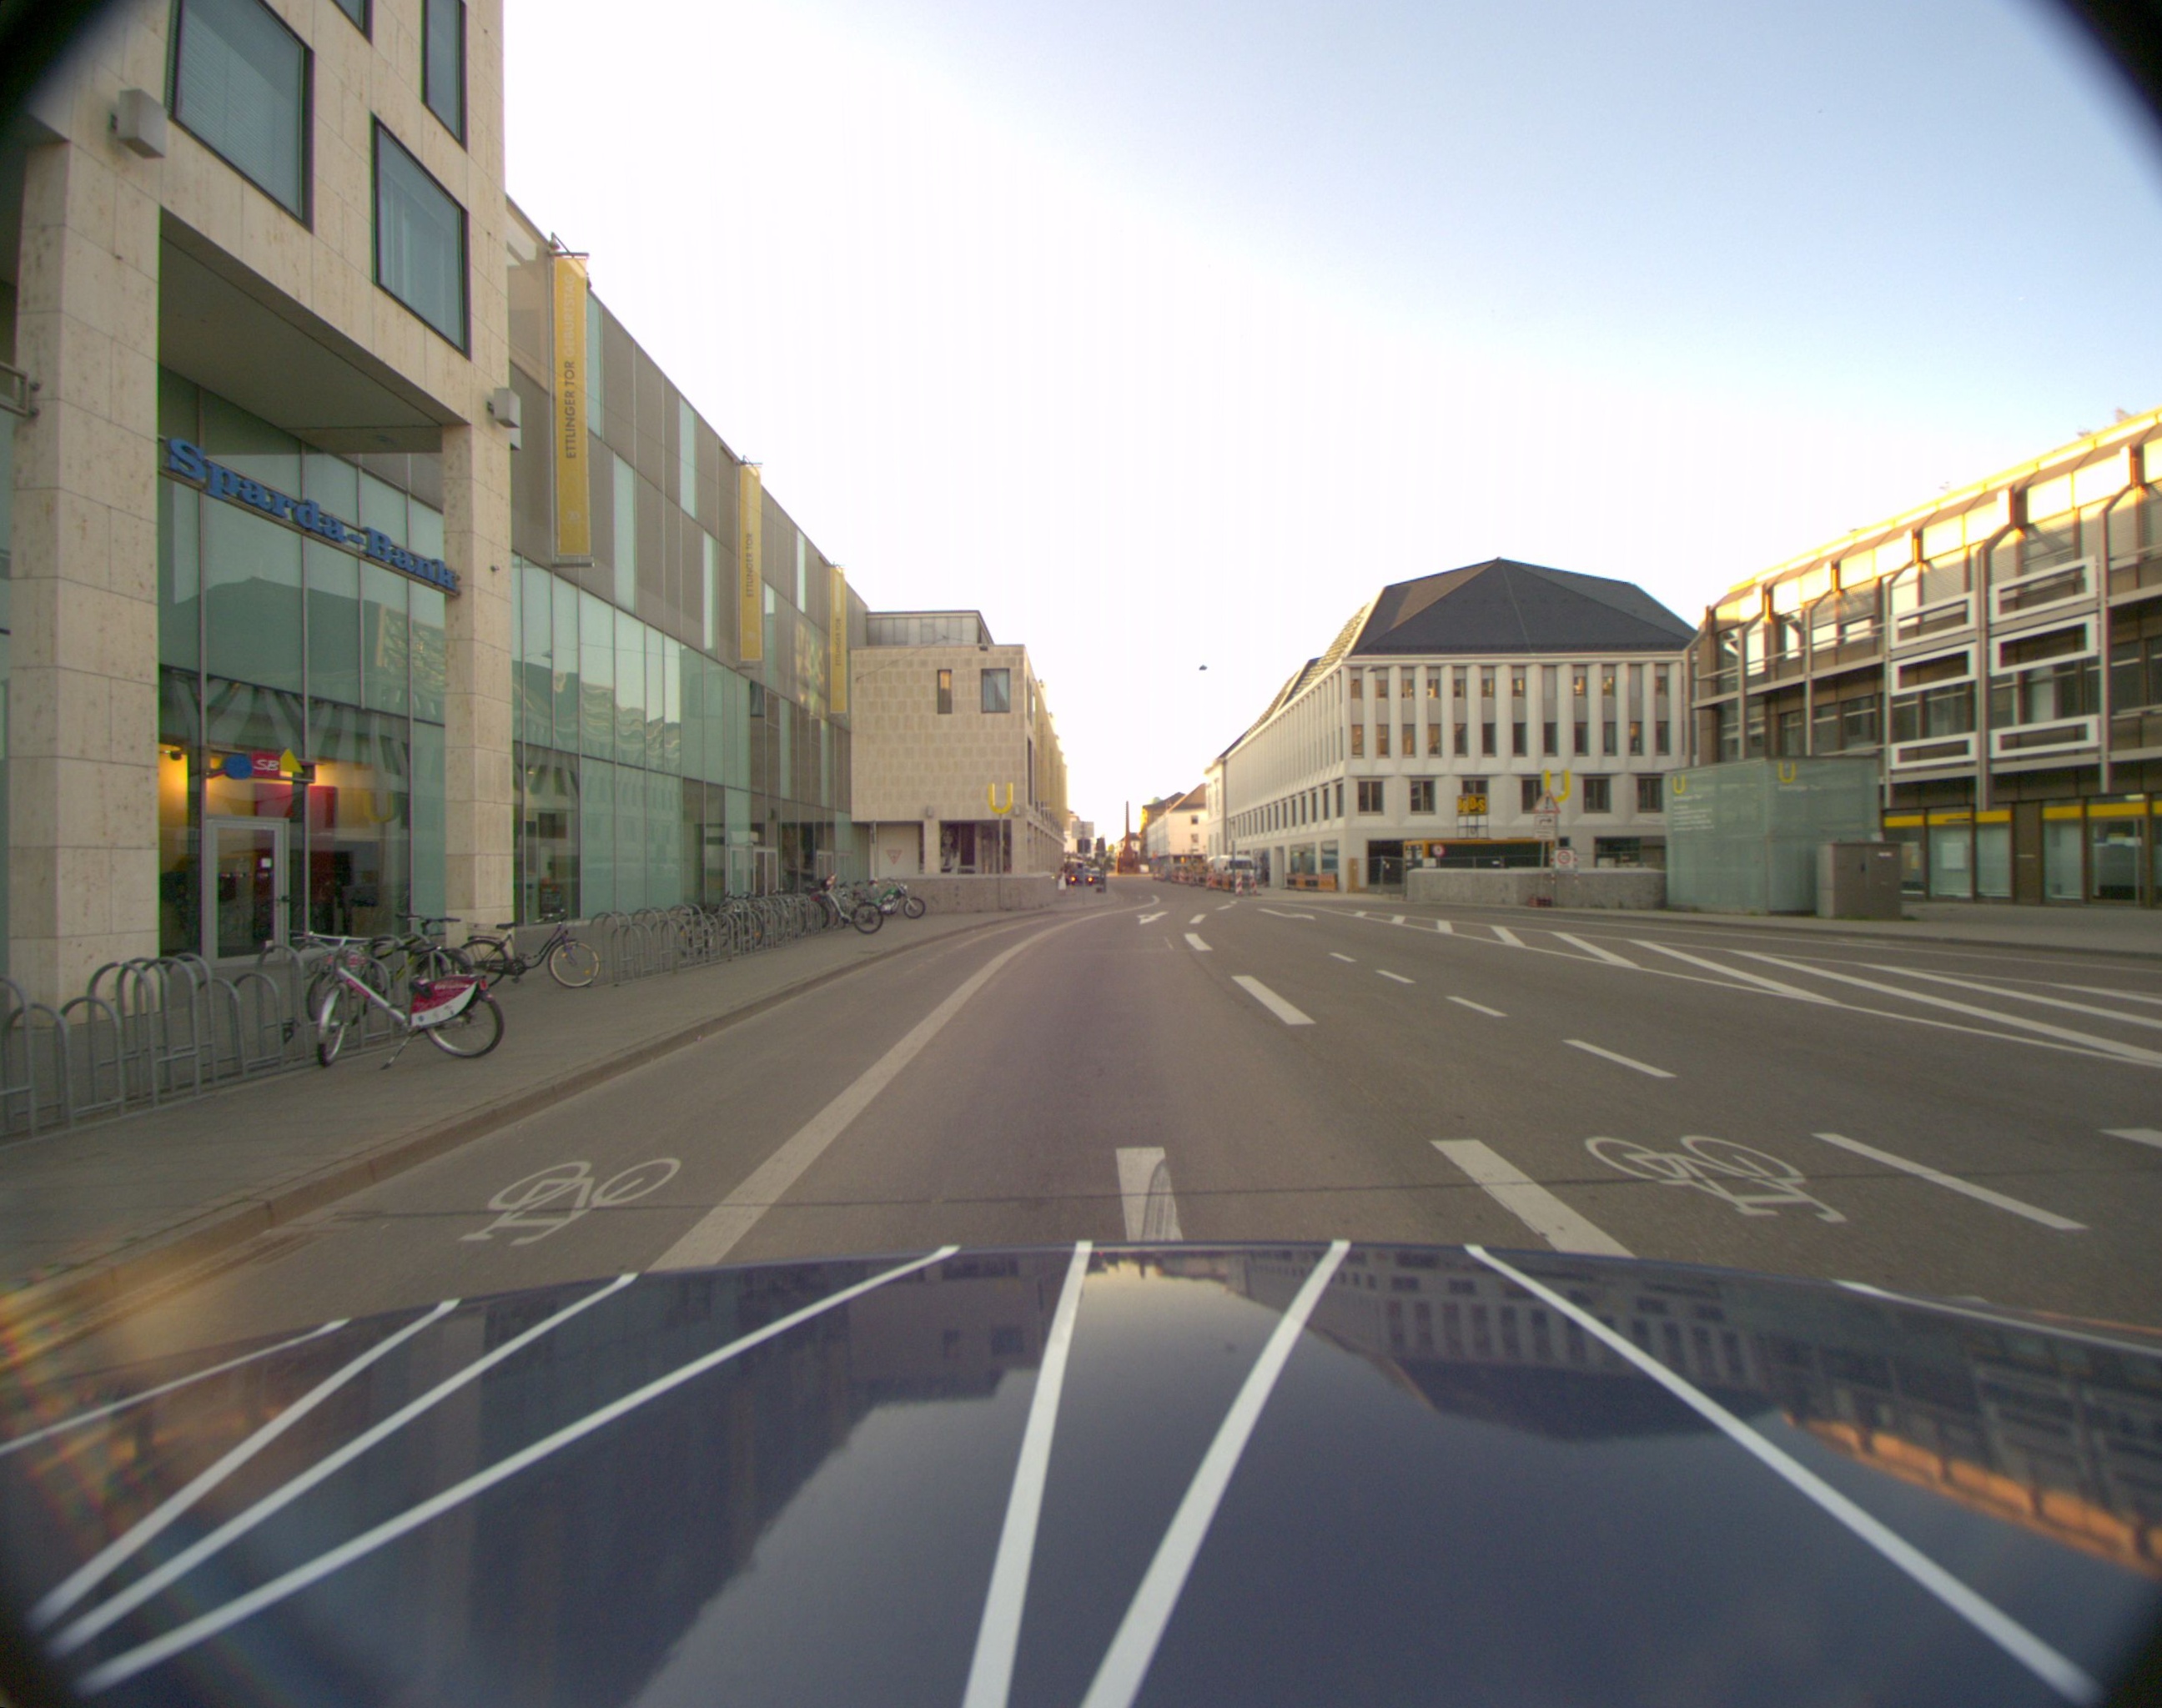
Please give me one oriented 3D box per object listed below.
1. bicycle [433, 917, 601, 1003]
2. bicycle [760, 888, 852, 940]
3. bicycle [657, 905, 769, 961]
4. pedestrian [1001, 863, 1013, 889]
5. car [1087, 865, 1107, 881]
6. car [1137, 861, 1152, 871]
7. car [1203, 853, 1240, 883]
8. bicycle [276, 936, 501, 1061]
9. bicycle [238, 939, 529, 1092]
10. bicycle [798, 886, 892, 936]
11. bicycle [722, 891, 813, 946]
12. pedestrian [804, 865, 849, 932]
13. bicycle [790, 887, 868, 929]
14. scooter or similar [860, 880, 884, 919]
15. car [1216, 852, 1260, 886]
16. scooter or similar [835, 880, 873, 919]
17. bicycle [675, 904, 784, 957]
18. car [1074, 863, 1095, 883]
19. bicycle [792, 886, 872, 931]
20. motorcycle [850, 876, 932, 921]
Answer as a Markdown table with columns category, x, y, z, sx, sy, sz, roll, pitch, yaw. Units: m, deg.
| category | x | y | z | sx | sy | sz | roll | pitch | yaw |
| --- | --- | --- | --- | --- | --- | --- | --- | --- | --- |
| bicycle | -7.513 | 1.395 | 10.184 | 1.708 | 1.017 | 0.600 | 0 | 0 | -10 |
| bicycle | -6.647 | 1.449 | 18.411 | 1.992 | 1.123 | 0.556 | -3 | 0 | 6 |
| bicycle | -6.614 | 1.415 | 13.695 | 1.743 | 0.931 | 0.516 | 0 | 0 | 0 |
| pedestrian | -4.500 | 1.353 | 46.480 | 0.635 | 1.558 | 0.775 | 0 | -2 | 0 |
| car | 1.582 | 1.887 | 75.418 | 1.799 | 1.481 | 4.193 | 3 | 0 | 1 |
| car | 12.414 | 2.362 | 148.774 | 2.021 | 1.815 | 4.458 | -1 | -1 | -6 |
| car | 12.073 | 1.196 | 65.680 | 2.179 | 2.455 | 6.000 | -1 | 0 | 1 |
| bicycle | -6.842 | 1.417 | 7.532 | 1.820 | 1.093 | 0.601 | -3 | -1 | 9 |
| bicycle | -5.578 | 1.283 | 6.115 | 1.902 | 1.041 | 0.571 | -4 | -1 | 6 |
| bicycle | -5.432 | 1.302 | 17.499 | 1.992 | 1.123 | 0.571 | -1 | 0 | 6 |
| bicycle | -6.721 | 1.381 | 16.317 | 1.768 | 1.123 | 0.516 | 0 | 0 | 4 |
| pedestrian | -6.721 | 1.150 | 20.078 | 0.837 | 1.725 | 0.820 | 0 | 0 | 8 |
| bicycle | -6.947 | 1.477 | 20.977 | 1.992 | 1.123 | 0.517 | -1 | 0 | 6 |
| scooter or similar | -6.968 | 1.501 | 25.367 | 0.398 | 1.249 | 0.870 | -1 | 0 | 12 |
| car | 11.949 | 1.126 | 58.227 | 2.179 | 2.455 | 6.000 | -1 | 0 | 1 |
| scooter or similar | -7.577 | 1.521 | 25.409 | 1.119 | 1.249 | 0.398 | -1 | 0 | -37 |
| bicycle | -6.610 | 1.431 | 14.333 | 1.812 | 0.931 | 0.516 | 0 | 0 | 0 |
| car | 0.330 | 1.656 | 66.545 | 1.772 | 1.628 | 4.058 | 3 | 0 | 1 |
| bicycle | -6.659 | 1.446 | 20.382 | 1.992 | 1.172 | 0.517 | -1 | 0 | 6 |
| motorcycle | -5.837 | 1.358 | 23.419 | 2.304 | 1.325 | 0.907 | -1 | 0 | -2 |
